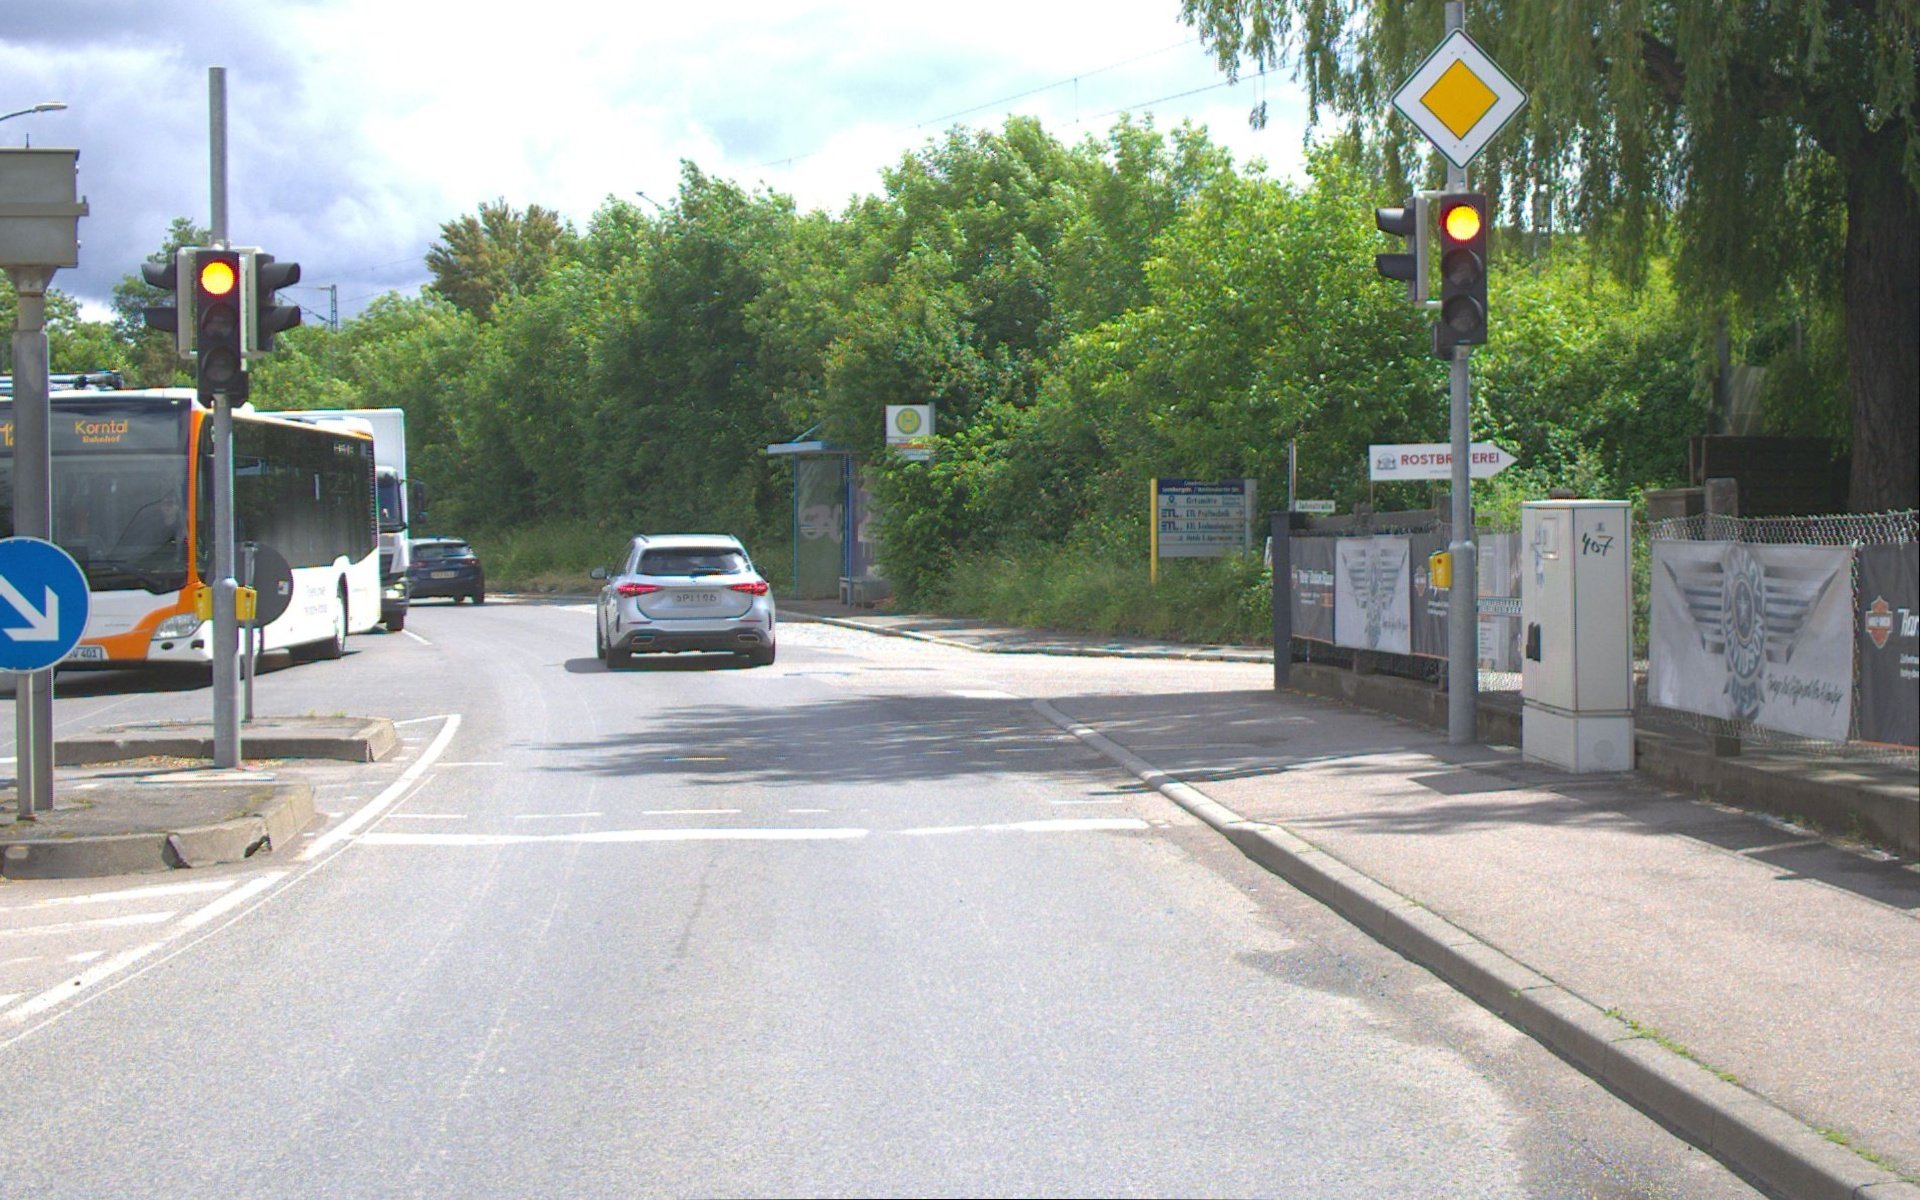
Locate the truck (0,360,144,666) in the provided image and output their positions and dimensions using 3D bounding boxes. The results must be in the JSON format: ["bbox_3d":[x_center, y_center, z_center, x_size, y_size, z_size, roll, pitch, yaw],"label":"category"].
[{"bbox_3d":[-13.768,-1.257,51.202,2.428,4.117,9.153,1,1,-10],"label":"truck"}]

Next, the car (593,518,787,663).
[{"bbox_3d":[-3.054,-0.145,38.177,1.884,1.503,4.001,-1,1,-8],"label":"car"}]

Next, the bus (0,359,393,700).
[{"bbox_3d":[-8.772,-0.810,39.467,2.777,3.255,12.125,-1,1,-2],"label":"bus"}]

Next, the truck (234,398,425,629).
[{"bbox_3d":[-10.528,-1.435,57.808,2.839,3.528,9.727,-1,1,-10],"label":"truck"}]

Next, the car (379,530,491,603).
[{"bbox_3d":[-11.213,-0.733,73.231,1.884,1.503,4.001,0,1,-16],"label":"car"}]
